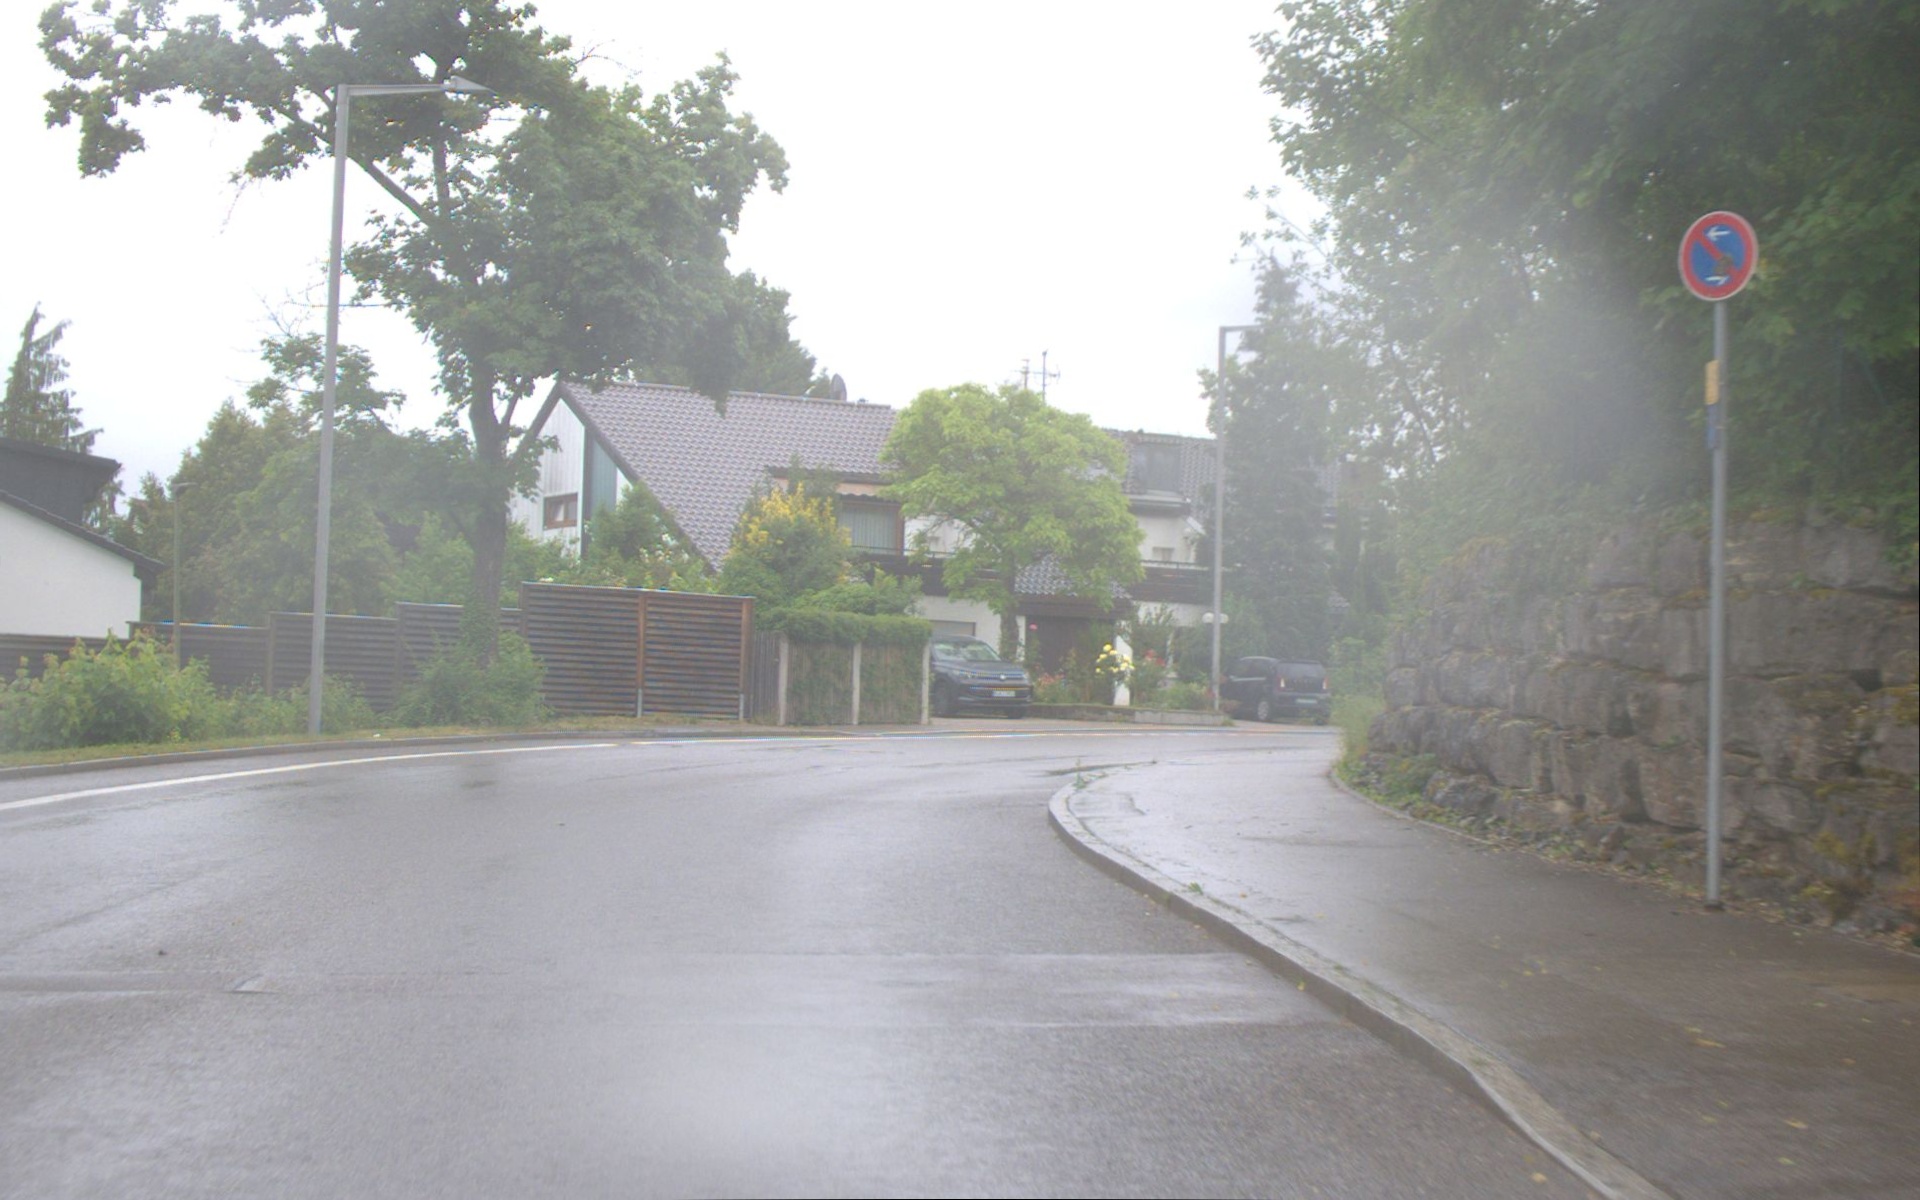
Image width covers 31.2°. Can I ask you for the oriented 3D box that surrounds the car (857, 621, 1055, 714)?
[{"bbox_3d":[-0.110,1.352,69.621,2.007,1.626,4.000,4,0,-34],"label":"car"}]

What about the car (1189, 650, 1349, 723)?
[{"bbox_3d":[6.879,1.912,76.840,1.934,1.384,4.001,4,-1,-21],"label":"car"}]
